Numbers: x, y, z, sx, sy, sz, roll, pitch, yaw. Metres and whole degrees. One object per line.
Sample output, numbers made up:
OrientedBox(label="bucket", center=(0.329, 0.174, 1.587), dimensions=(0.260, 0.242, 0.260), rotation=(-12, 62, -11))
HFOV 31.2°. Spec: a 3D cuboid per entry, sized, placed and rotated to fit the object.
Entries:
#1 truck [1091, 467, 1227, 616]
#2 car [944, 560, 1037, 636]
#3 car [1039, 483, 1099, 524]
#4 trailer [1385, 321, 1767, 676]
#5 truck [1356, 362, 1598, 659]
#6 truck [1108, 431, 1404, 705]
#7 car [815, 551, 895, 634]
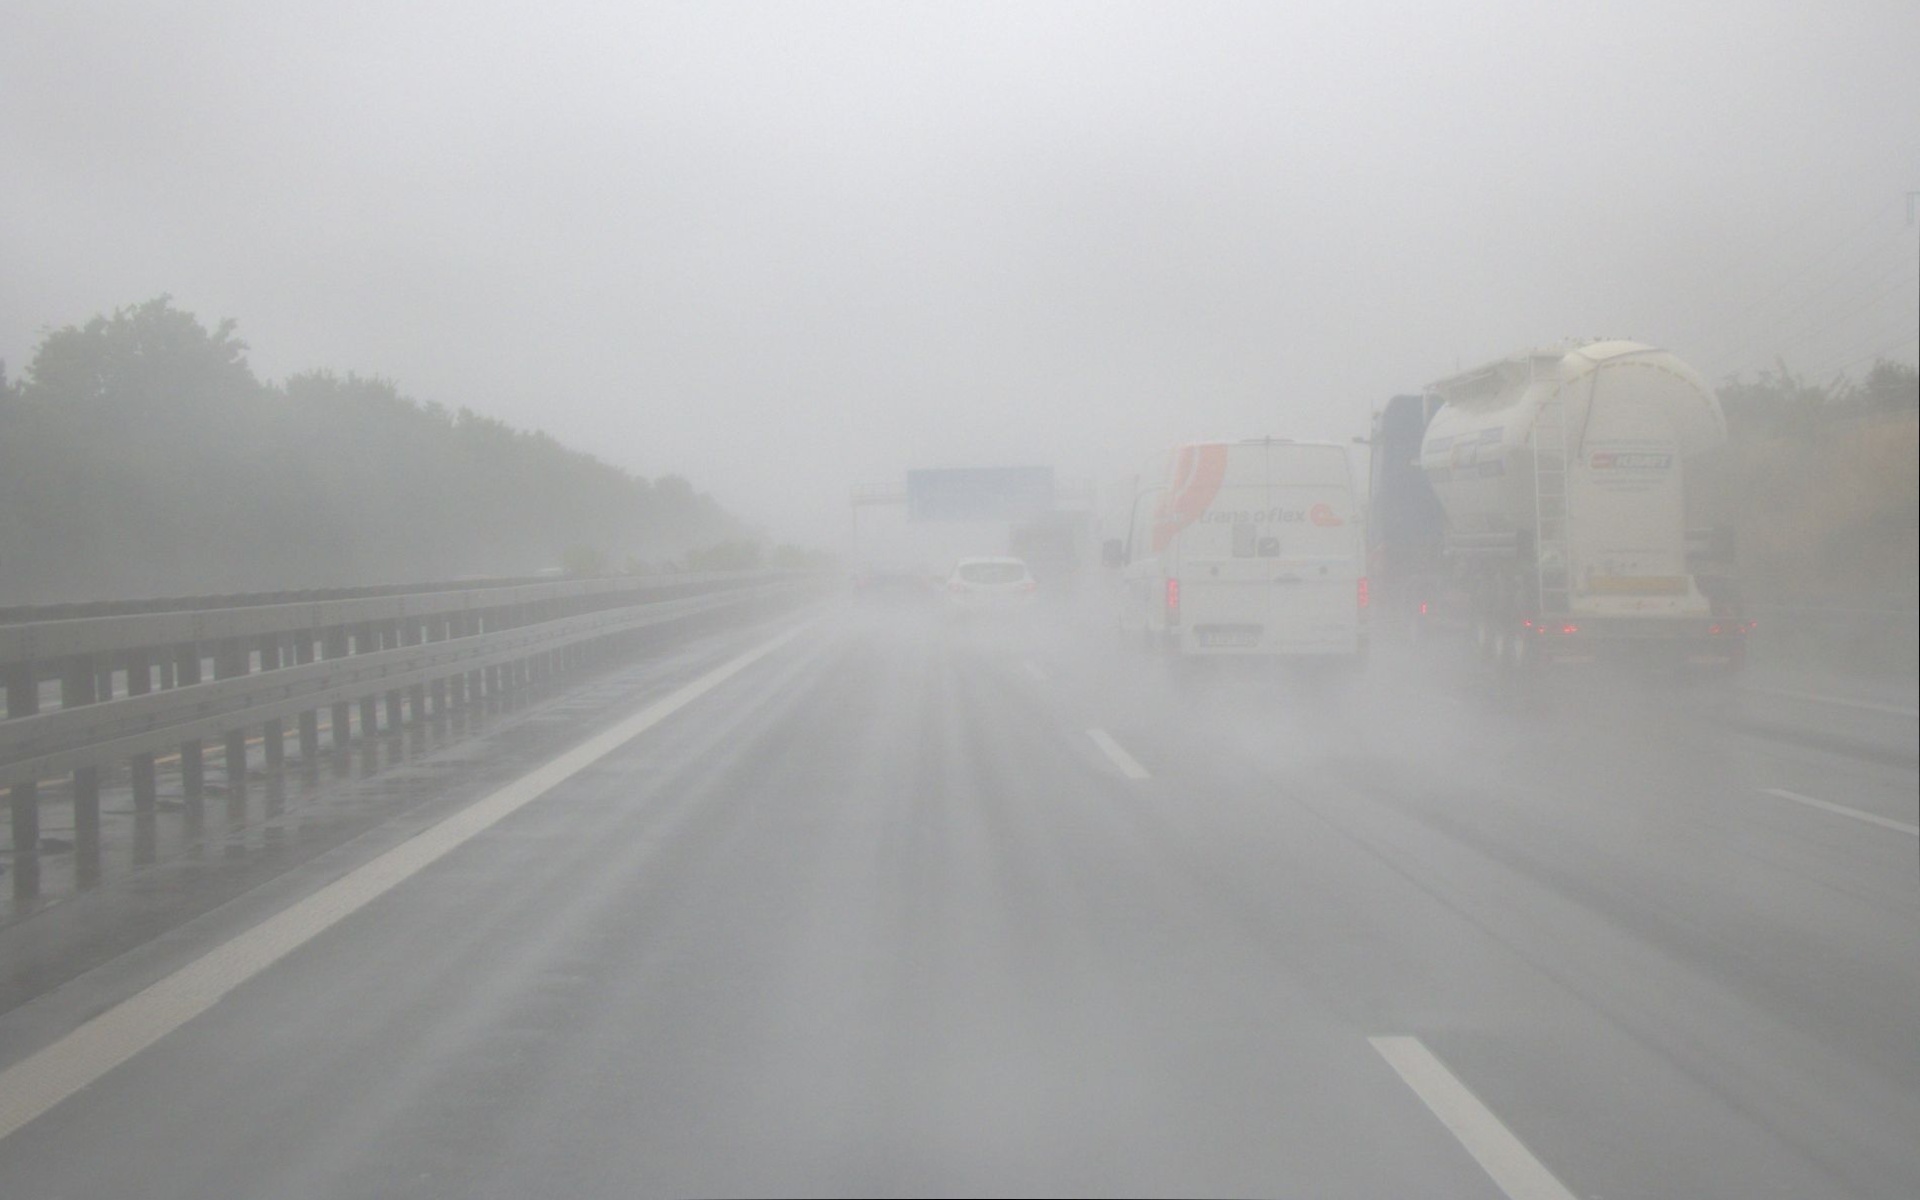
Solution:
OrientedBox(label="truck", center=(6.447, -1.807, 114.109), dimensions=(3.039, 4.572, 16.352), rotation=(1, 0, -2))
OrientedBox(label="car", center=(0.543, -0.064, 64.116), dimensions=(1.605, 1.333, 3.848), rotation=(1, 1, -1))
OrientedBox(label="car", center=(5.512, -4.881, 174.474), dimensions=(2.788, 2.007, 4.993), rotation=(1, 1, -1))
OrientedBox(label="trailer", center=(7.441, -1.211, 43.263), dimensions=(2.497, 3.869, 11.067), rotation=(1, 1, -1))
OrientedBox(label="truck", center=(7.266, -1.245, 48.892), dimensions=(2.496, 3.970, 5.076), rotation=(1, 1, -1))
OrientedBox(label="truck", center=(2.830, -0.341, 34.244), dimensions=(2.419, 2.484, 5.560), rotation=(1, 1, 0))
OrientedBox(label="car", center=(-2.358, -0.184, 78.135), dimensions=(1.702, 1.812, 3.862), rotation=(1, 1, 0))
